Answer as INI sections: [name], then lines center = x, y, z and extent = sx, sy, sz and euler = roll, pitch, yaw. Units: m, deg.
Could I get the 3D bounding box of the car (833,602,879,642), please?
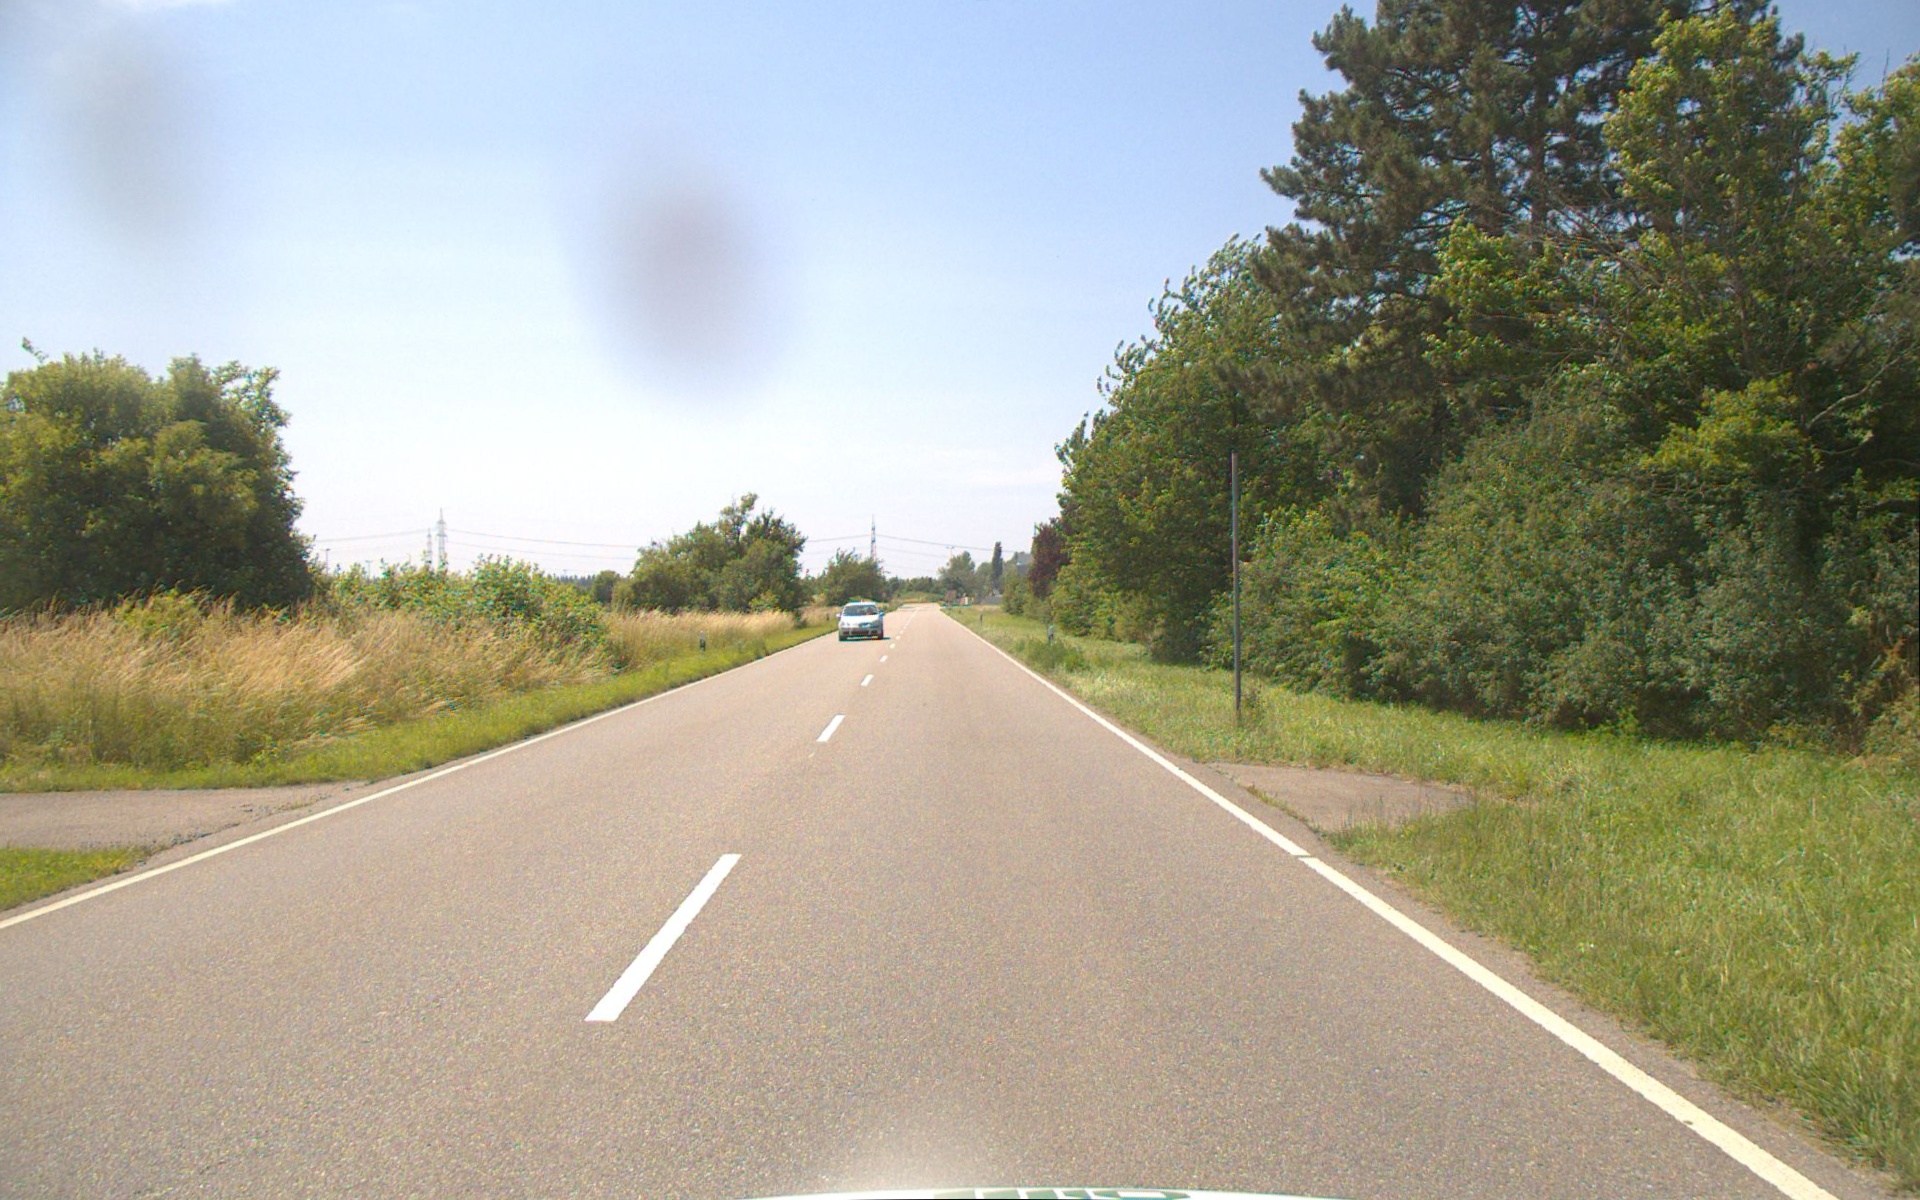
[car]
center = -4.134, 0.846, 66.122
extent = 1.645, 1.446, 4.420
euler = -3, 0, -2
